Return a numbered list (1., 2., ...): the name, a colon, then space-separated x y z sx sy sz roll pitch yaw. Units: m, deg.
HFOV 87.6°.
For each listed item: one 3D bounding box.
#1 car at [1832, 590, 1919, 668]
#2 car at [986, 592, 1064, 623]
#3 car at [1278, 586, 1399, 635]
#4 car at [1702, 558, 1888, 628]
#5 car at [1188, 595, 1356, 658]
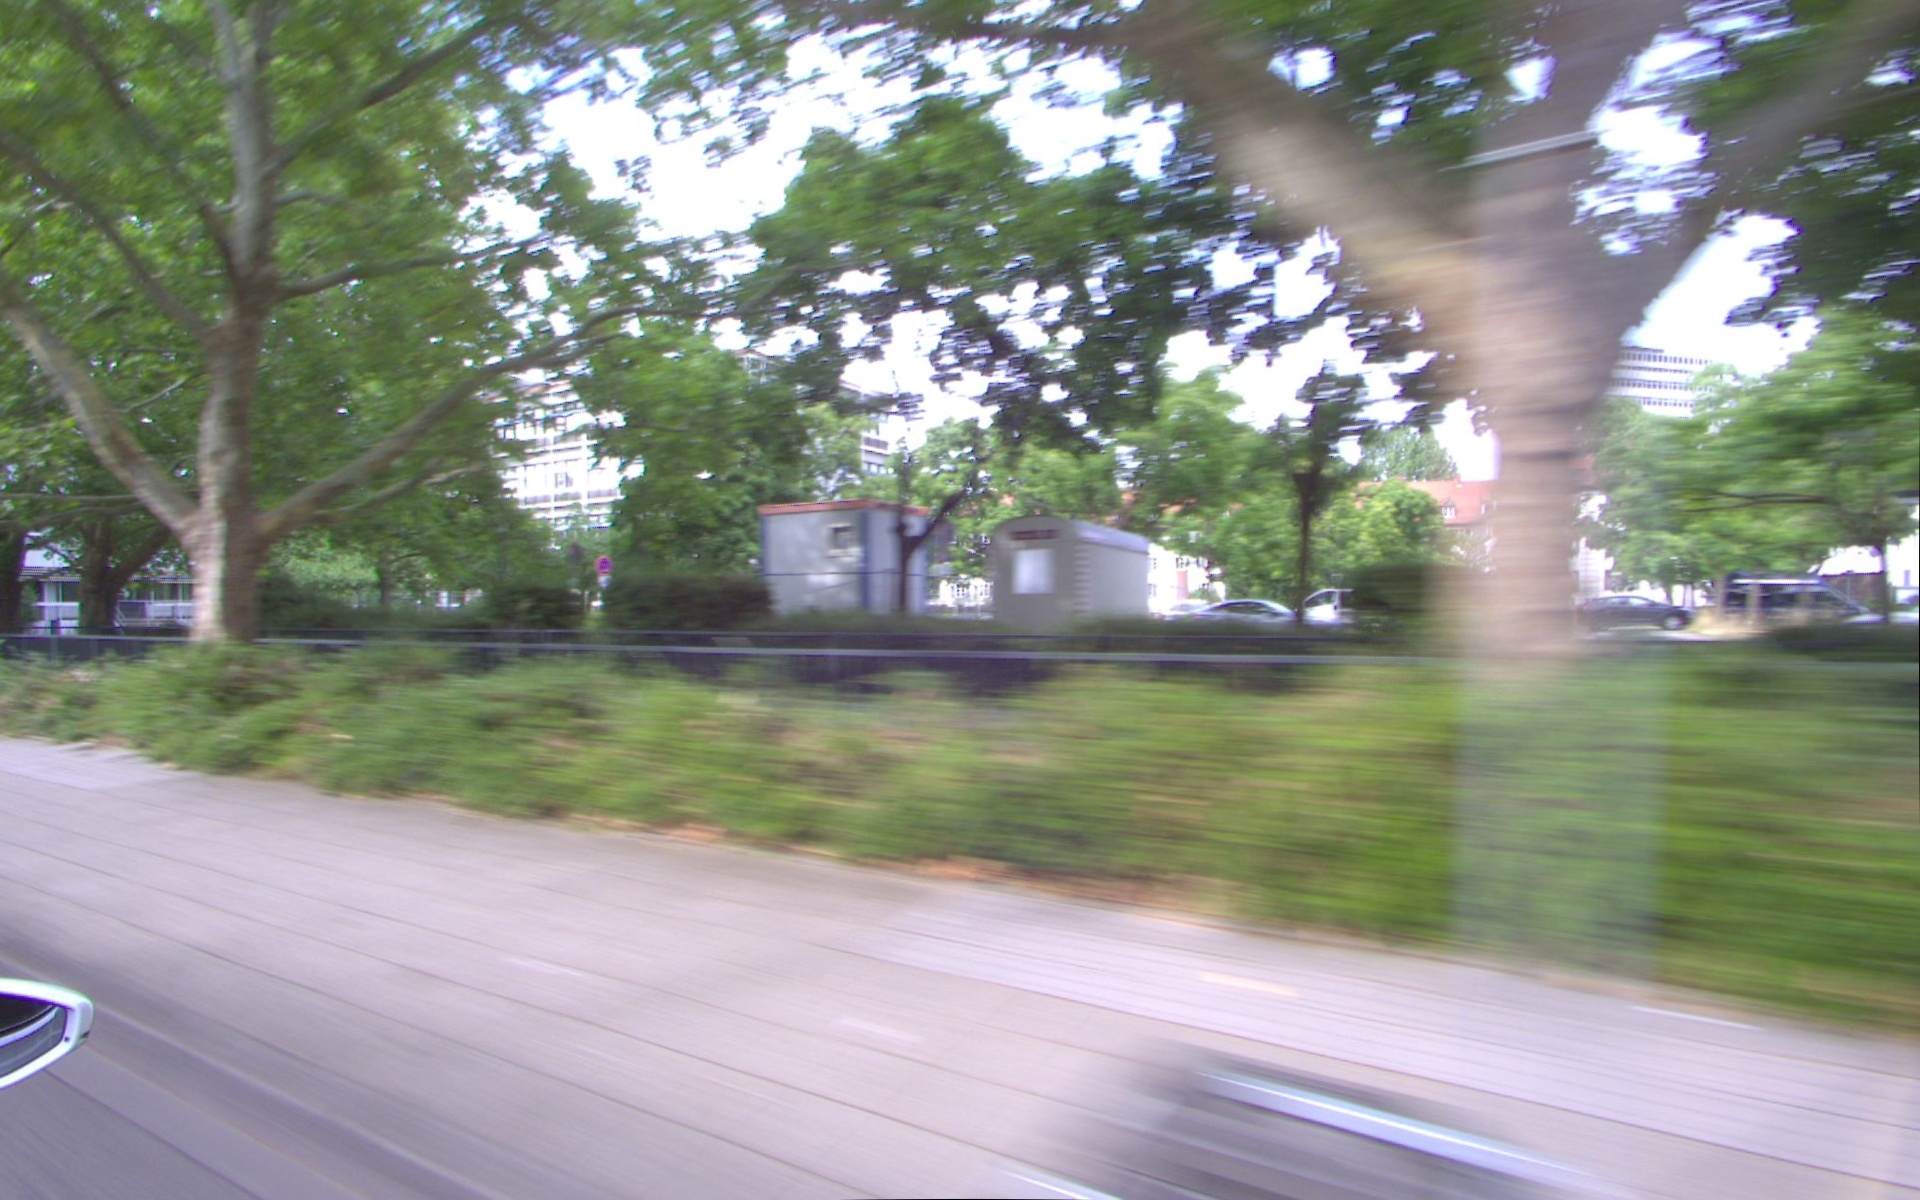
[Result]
1. car: 23.899 0.723 23.604 4.699 1.817 1.993 0 -2 29
2. car: 3.518 0.408 54.034 3.731 1.601 1.993 0 -2 29
3. car: 16.414 0.449 43.441 4.697 2.039 1.994 0 -1 27
4. car: 33.771 -0.233 40.761 5.412 2.647 2.434 0 -1 29
5. car: 9.697 0.805 31.196 4.699 1.817 1.993 0 -2 29
